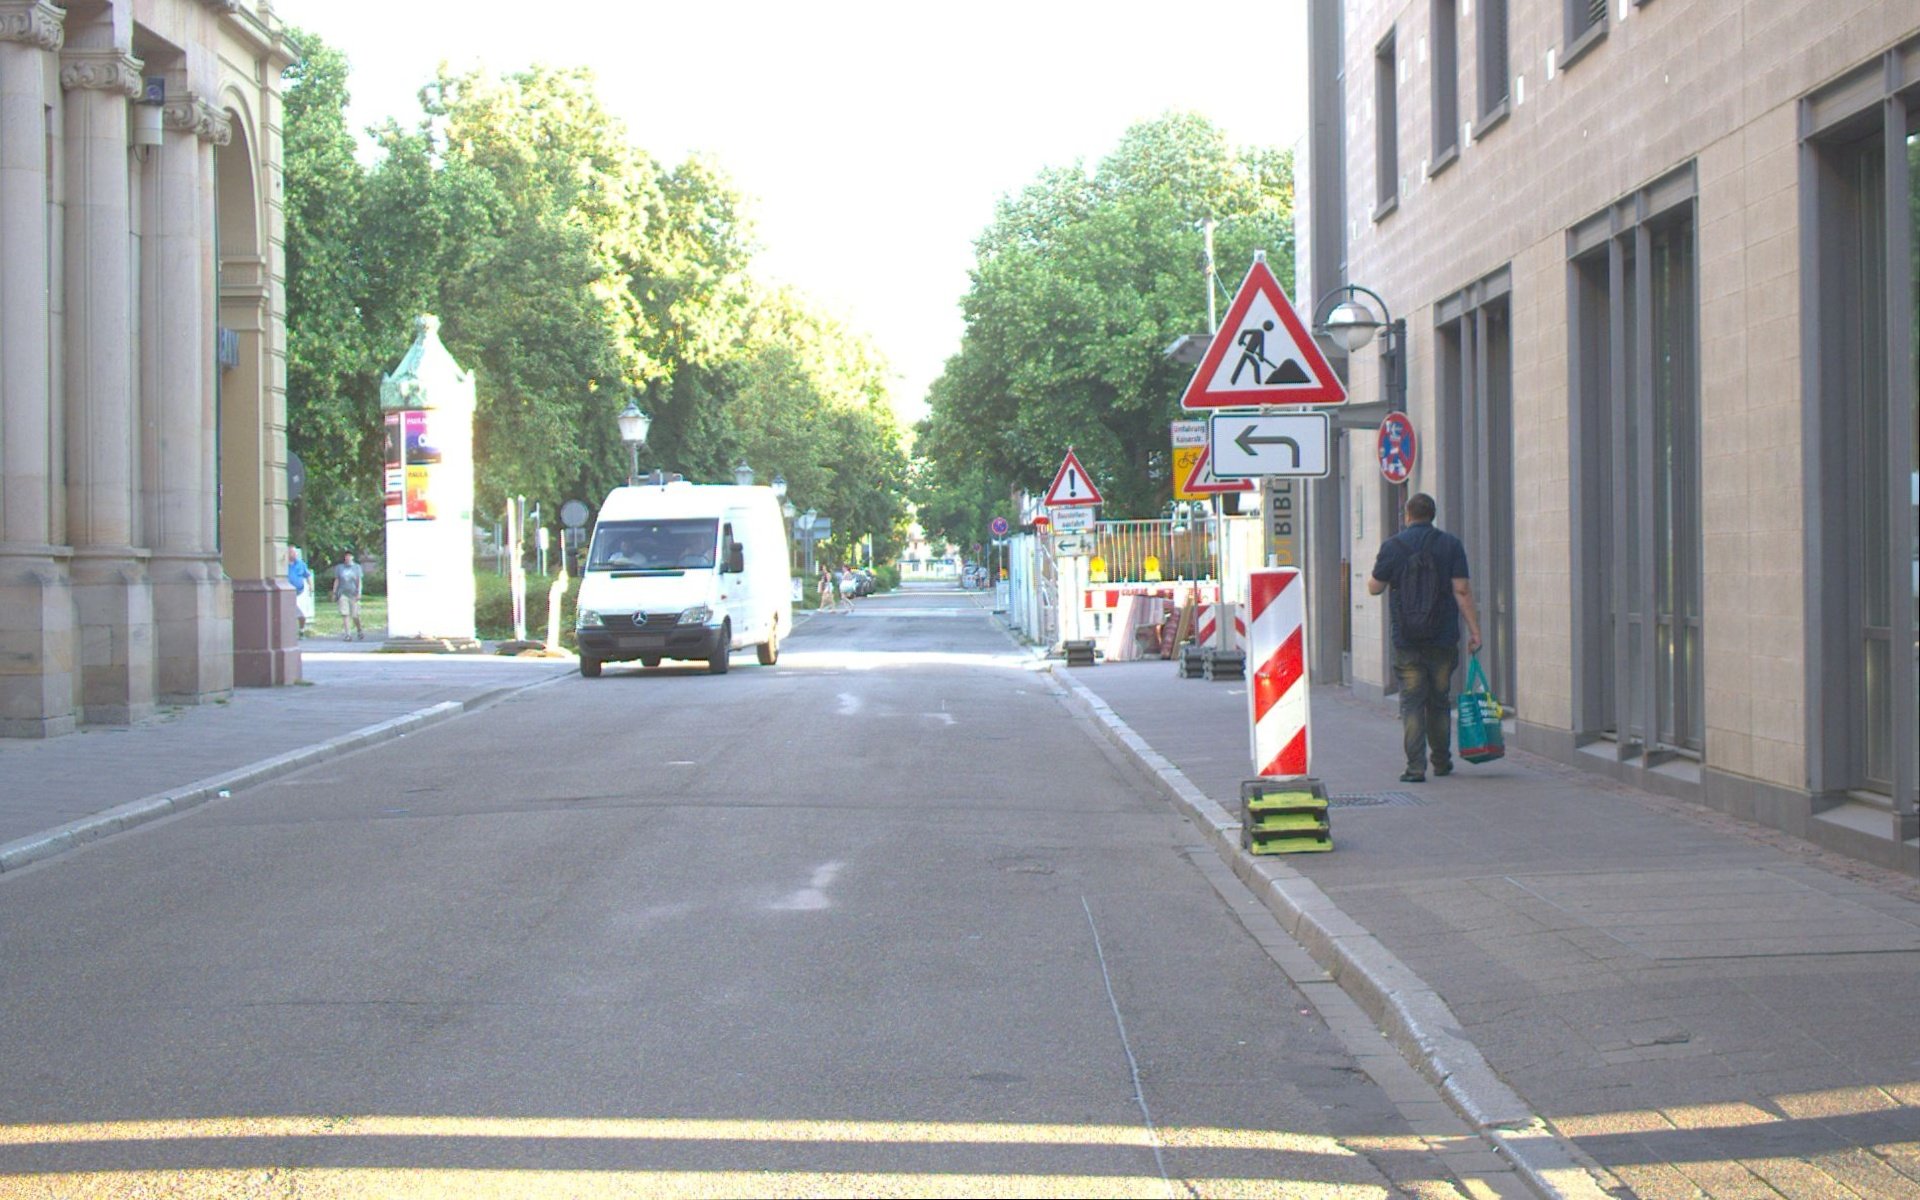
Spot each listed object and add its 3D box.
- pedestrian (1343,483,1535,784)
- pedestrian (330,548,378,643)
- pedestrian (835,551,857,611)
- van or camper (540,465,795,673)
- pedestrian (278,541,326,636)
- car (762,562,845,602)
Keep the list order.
[{"bbox_3d":[2.961,0.202,21.343,1.000,1.797,0.882,-2,0,-1],"label":"pedestrian"},{"bbox_3d":[-11.518,-0.095,65.322,0.849,1.801,0.664,0,1,-13],"label":"pedestrian"},{"bbox_3d":[-3.815,-0.646,114.930,0.609,2.007,0.905,0,1,-8],"label":"pedestrian"},{"bbox_3d":[-3.804,-0.441,46.100,2.219,2.576,6.371,-1,1,6],"label":"van or camper"},{"bbox_3d":[-12.462,-0.220,65.109,0.849,1.801,0.664,0,1,-13],"label":"pedestrian"},{"bbox_3d":[-7.313,-0.821,160.982,3.564,1.777,1.789,-1,0,9],"label":"car"}]
